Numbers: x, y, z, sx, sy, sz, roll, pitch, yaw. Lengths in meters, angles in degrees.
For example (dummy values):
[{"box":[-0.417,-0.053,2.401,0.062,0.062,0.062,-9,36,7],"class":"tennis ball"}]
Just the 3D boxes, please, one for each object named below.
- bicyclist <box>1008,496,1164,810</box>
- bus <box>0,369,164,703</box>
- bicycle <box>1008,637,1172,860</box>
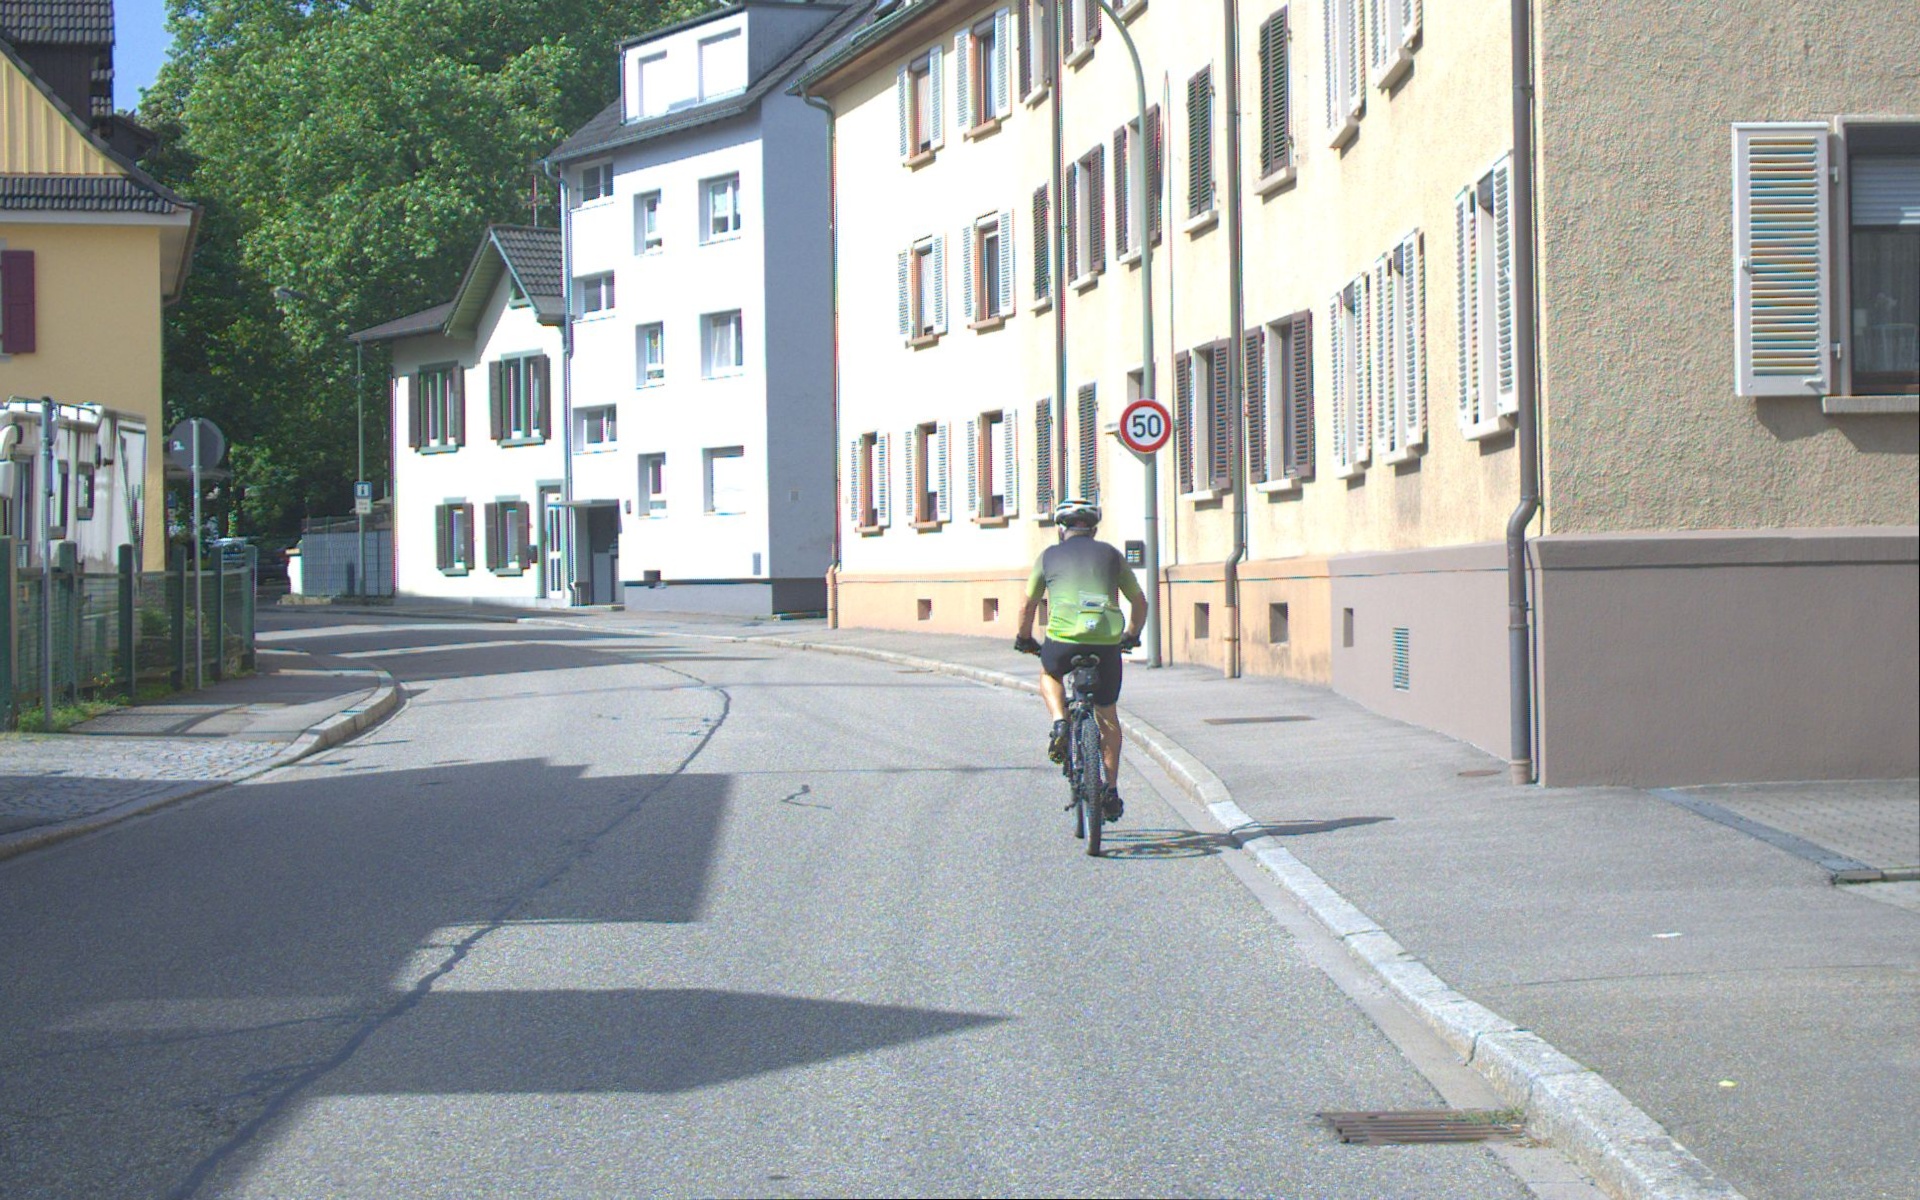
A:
[{"box":[0.624,0.256,17.224,0.685,1.526,0.716,-1,0,-3],"class":"bicyclist"},{"box":[-10.841,-0.701,37.484,2.820,3.217,9.037,1,1,-4],"class":"bus"},{"box":[0.635,0.722,17.285,0.698,1.032,1.471,0,1,-3],"class":"bicycle"}]
